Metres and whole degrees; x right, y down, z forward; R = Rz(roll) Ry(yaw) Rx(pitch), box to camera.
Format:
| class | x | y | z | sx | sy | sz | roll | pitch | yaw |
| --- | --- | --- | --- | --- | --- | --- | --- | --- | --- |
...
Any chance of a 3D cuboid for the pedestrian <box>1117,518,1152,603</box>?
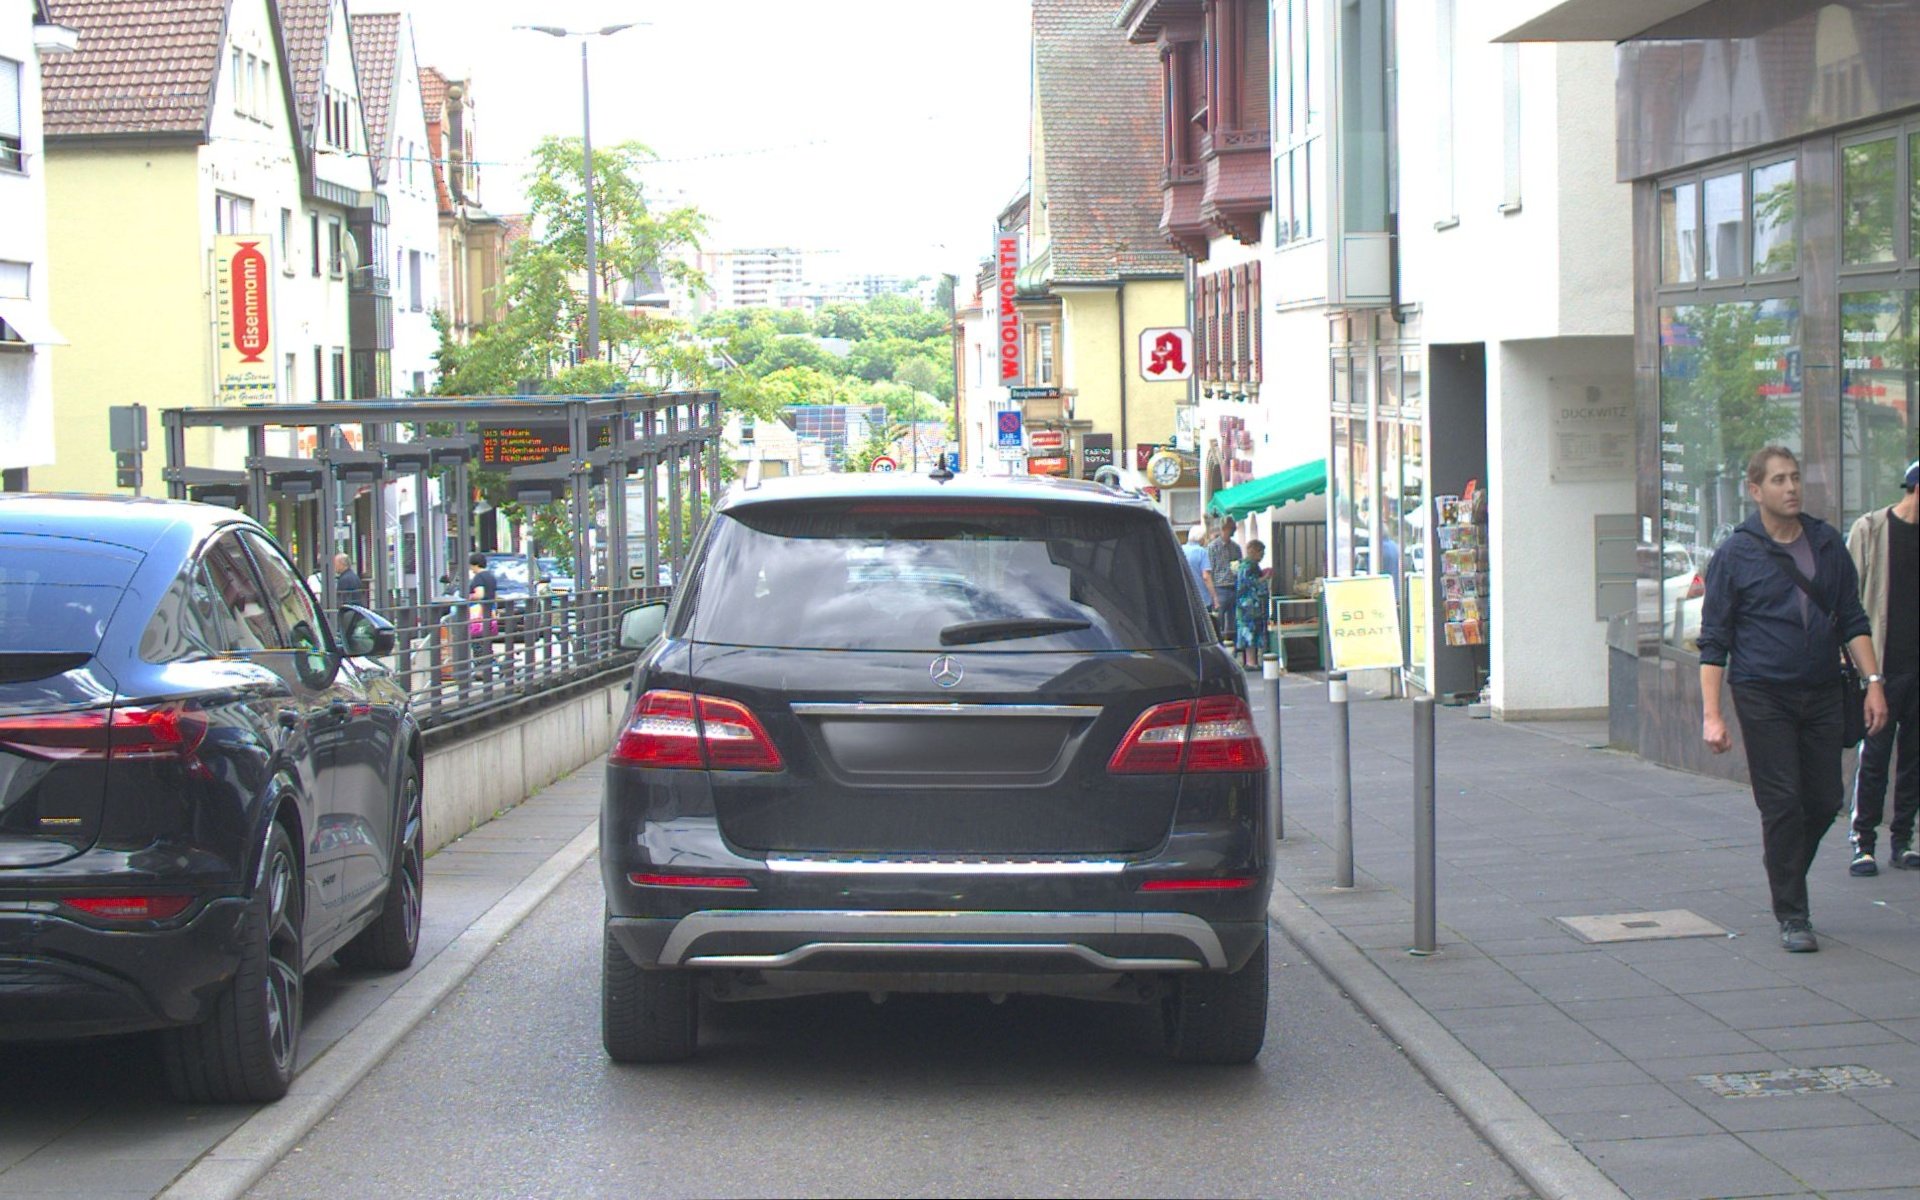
| class | x | y | z | sx | sy | sz | roll | pitch | yaw |
| --- | --- | --- | --- | --- | --- | --- | --- | --- | --- |
| pedestrian | 3.507 | -0.788 | 69.138 | 0.606 | 1.683 | 0.724 | -1 | 1 | -1 |

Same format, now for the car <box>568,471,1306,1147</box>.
| class | x | y | z | sx | sy | sz | roll | pitch | yaw |
| --- | --- | --- | --- | --- | --- | --- | --- | --- | --- |
| car | -0.151 | 0.520 | 10.977 | 1.900 | 1.741 | 4.001 | 1 | 1 | -3 |

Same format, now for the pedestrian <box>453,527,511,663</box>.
| class | x | y | z | sx | sy | sz | roll | pitch | yaw |
| --- | --- | --- | --- | --- | --- | --- | --- | --- | --- |
| pedestrian | -6.008 | -0.067 | 43.211 | 0.625 | 1.683 | 0.679 | 1 | 1 | -1 |

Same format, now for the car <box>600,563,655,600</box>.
| class | x | y | z | sx | sy | sz | roll | pitch | yaw |
| --- | --- | --- | --- | --- | --- | --- | --- | --- | --- |
| car | -10.242 | -0.578 | 106.054 | 1.388 | 1.066 | 3.113 | -1 | 1 | -1 |

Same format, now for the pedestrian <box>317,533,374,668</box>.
| class | x | y | z | sx | sy | sz | roll | pitch | yaw |
| --- | --- | --- | --- | --- | --- | --- | --- | --- | --- |
| pedestrian | -7.740 | 0.002 | 43.285 | 0.611 | 1.683 | 0.563 | -1 | 1 | -17 |

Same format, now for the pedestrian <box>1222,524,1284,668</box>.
| class | x | y | z | sx | sy | sz | roll | pitch | yaw |
| --- | --- | --- | --- | --- | --- | --- | --- | --- | --- |
| pedestrian | 3.491 | -0.048 | 40.989 | 0.573 | 1.683 | 0.566 | -2 | 1 | -7 |

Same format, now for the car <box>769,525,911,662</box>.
| class | x | y | z | sx | sy | sz | roll | pitch | yaw |
| --- | --- | --- | --- | --- | --- | --- | --- | --- | --- |
| car | -1.562 | -0.111 | 45.383 | 1.770 | 1.707 | 4.000 | 1 | 1 | -1 |

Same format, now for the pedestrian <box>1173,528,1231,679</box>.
| class | x | y | z | sx | sy | sz | roll | pitch | yaw |
| --- | --- | --- | --- | --- | --- | --- | --- | --- | --- |
| pedestrian | 2.785 | 0.033 | 39.576 | 0.542 | 1.720 | 0.528 | -1 | 1 | -7 |

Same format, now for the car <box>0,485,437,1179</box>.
| class | x | y | z | sx | sy | sz | roll | pitch | yaw |
| --- | --- | --- | --- | --- | --- | --- | --- | --- | --- |
| car | -2.798 | 0.507 | 10.243 | 1.956 | 1.634 | 4.315 | 1 | 1 | -2 |

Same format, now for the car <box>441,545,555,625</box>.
| class | x | y | z | sx | sy | sz | roll | pitch | yaw |
| --- | --- | --- | --- | --- | --- | --- | --- | --- | --- |
| car | -8.880 | -0.308 | 66.361 | 1.689 | 1.485 | 3.979 | 1 | 1 | -1 |

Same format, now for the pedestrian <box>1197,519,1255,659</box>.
| class | x | y | z | sx | sy | sz | roll | pitch | yaw |
| --- | --- | --- | --- | --- | --- | --- | --- | --- | --- |
| pedestrian | 3.236 | -0.132 | 41.846 | 0.573 | 1.683 | 0.566 | 1 | 1 | -7 |

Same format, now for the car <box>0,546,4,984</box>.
| class | x | y | z | sx | sy | sz | roll | pitch | yaw |
| --- | --- | --- | --- | --- | --- | --- | --- | --- | --- |
| car | -2.563 | 0.680 | 4.560 | 1.620 | 1.527 | 3.671 | 1 | 1 | -1 |

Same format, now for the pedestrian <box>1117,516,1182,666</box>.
| class | x | y | z | sx | sy | sz | roll | pitch | yaw |
| --- | --- | --- | --- | --- | --- | --- | --- | --- | --- |
| pedestrian | 2.147 | -0.103 | 38.991 | 0.621 | 1.683 | 0.566 | 1 | 1 | -7 |

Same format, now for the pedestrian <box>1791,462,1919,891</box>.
| class | x | y | z | sx | sy | sz | roll | pitch | yaw |
| --- | --- | --- | --- | --- | --- | --- | --- | --- | --- |
| pedestrian | 3.849 | 0.290 | 13.968 | 0.662 | 1.683 | 0.543 | -4 | 1 | -7 |

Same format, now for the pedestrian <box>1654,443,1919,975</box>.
| class | x | y | z | sx | sy | sz | roll | pitch | yaw |
| --- | --- | --- | --- | --- | --- | --- | --- | --- | --- |
| pedestrian | 2.877 | 0.358 | 11.886 | 0.711 | 1.747 | 0.787 | -3 | 1 | -1 |

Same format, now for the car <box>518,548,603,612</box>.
| class | x | y | z | sx | sy | sz | roll | pitch | yaw |
| --- | --- | --- | --- | --- | --- | --- | --- | --- | --- |
| car | -9.677 | -0.504 | 83.495 | 1.660 | 1.485 | 3.748 | 1 | 1 | -1 |

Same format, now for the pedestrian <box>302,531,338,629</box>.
| class | x | y | z | sx | sy | sz | roll | pitch | yaw |
| --- | --- | --- | --- | --- | --- | --- | --- | --- | --- |
| pedestrian | -11.102 | -0.347 | 59.650 | 0.513 | 1.683 | 0.541 | 1 | 1 | -1 |
